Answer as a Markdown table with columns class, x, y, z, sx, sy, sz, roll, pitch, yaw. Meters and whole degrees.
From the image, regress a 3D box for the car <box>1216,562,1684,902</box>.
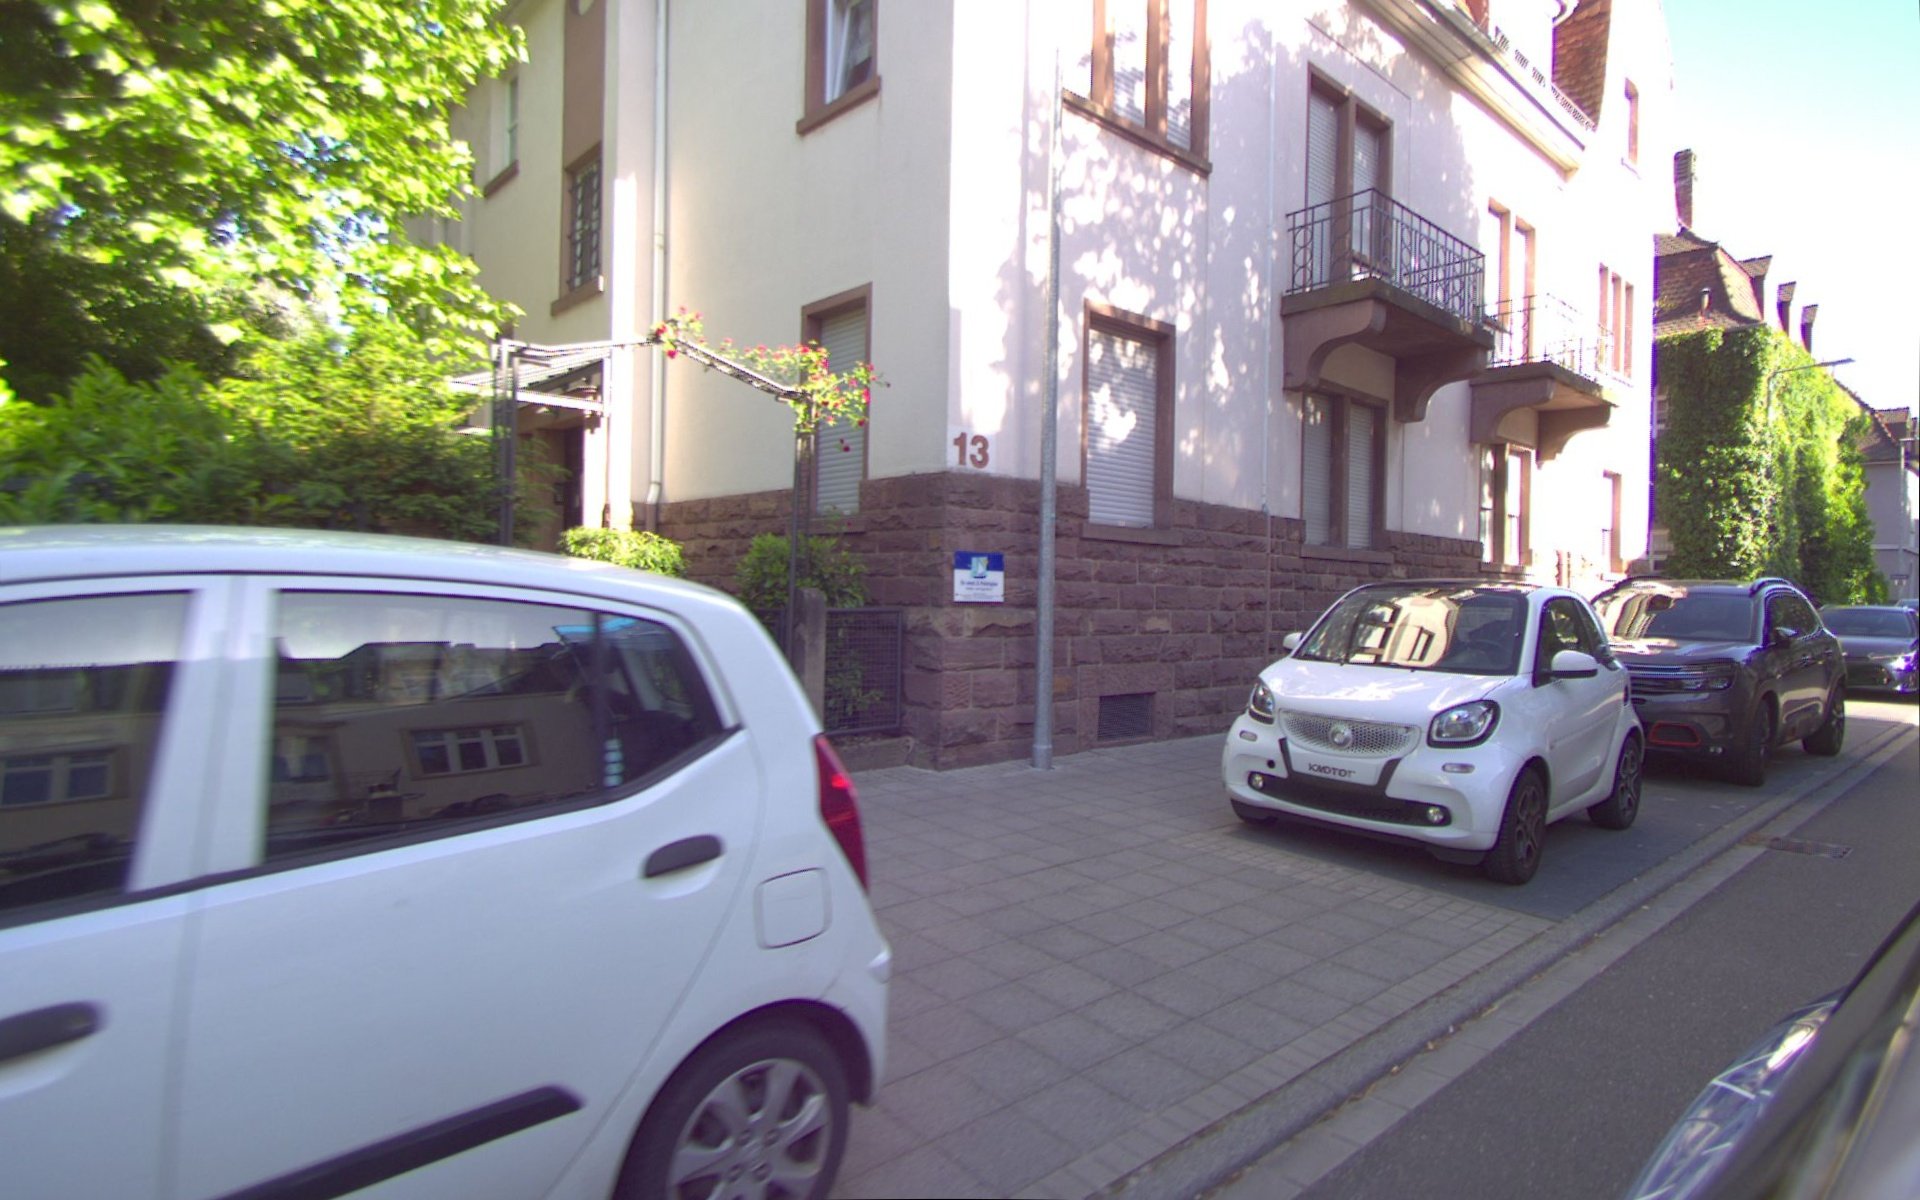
| class | x | y | z | sx | sy | sz | roll | pitch | yaw |
| --- | --- | --- | --- | --- | --- | --- | --- | --- | --- |
| car | 3.089 | 0.581 | 6.228 | 2.820 | 1.568 | 1.627 | -1 | 1 | -41 |

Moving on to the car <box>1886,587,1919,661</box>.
| class | x | y | z | sx | sy | sz | roll | pitch | yaw |
| --- | --- | --- | --- | --- | --- | --- | --- | --- | --- |
| car | 23.427 | 0.550 | 23.860 | 4.125 | 1.665 | 1.871 | 0 | 1 | -41 |

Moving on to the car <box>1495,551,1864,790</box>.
| class | x | y | z | sx | sy | sz | roll | pitch | yaw |
| --- | --- | --- | --- | --- | --- | --- | --- | --- | --- |
| car | 6.773 | 0.478 | 9.354 | 4.245 | 1.718 | 1.781 | -2 | 0 | -41 |

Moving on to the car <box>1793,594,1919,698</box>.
| class | x | y | z | sx | sy | sz | roll | pitch | yaw |
| --- | --- | --- | --- | --- | --- | --- | --- | --- | --- |
| car | 15.006 | 0.651 | 16.416 | 4.425 | 1.472 | 1.646 | 0 | 0 | -41 |

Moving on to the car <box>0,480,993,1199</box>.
| class | x | y | z | sx | sy | sz | roll | pitch | yaw |
| --- | --- | --- | --- | --- | --- | --- | --- | --- | --- |
| car | -1.714 | 0.600 | 1.923 | 3.409 | 1.568 | 1.578 | -1 | 3 | -41 |
